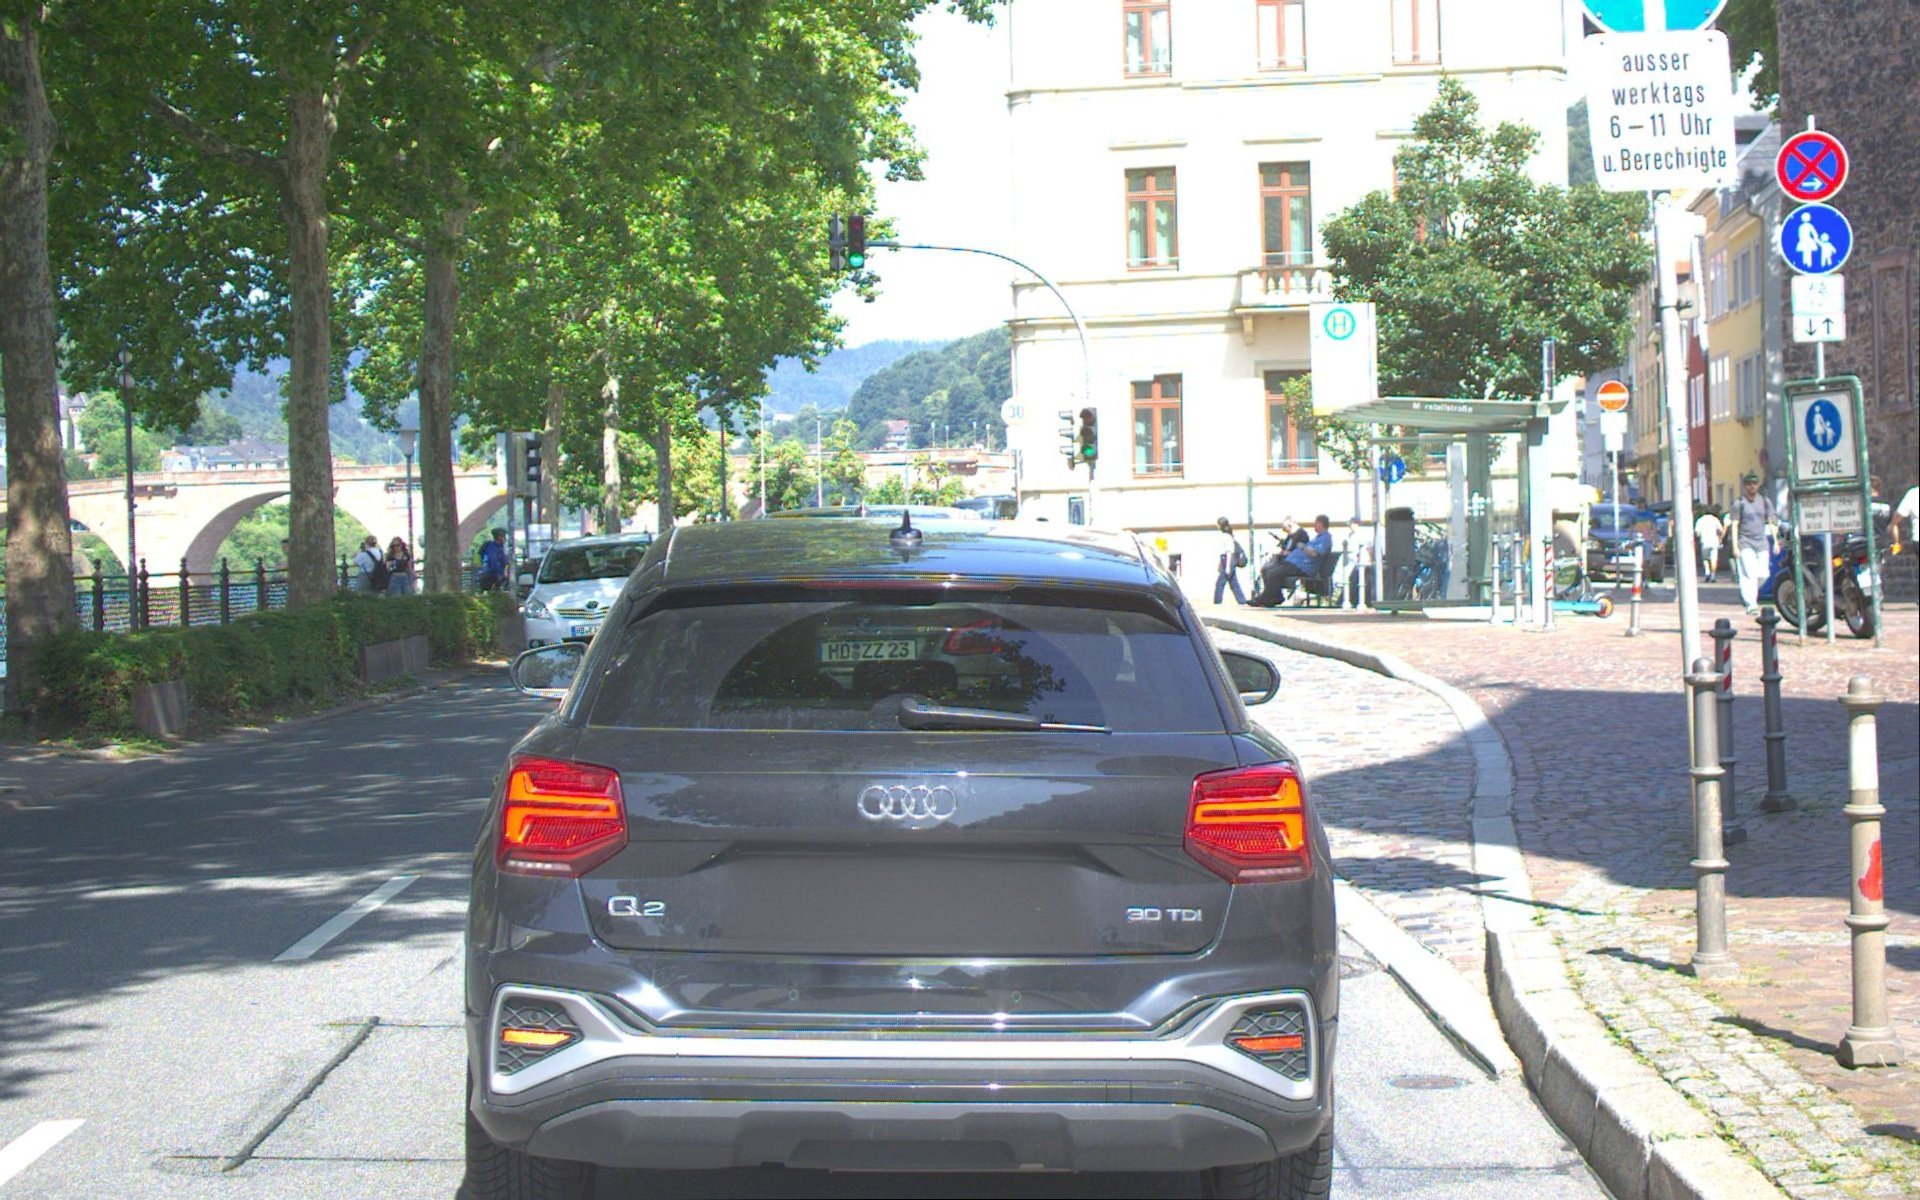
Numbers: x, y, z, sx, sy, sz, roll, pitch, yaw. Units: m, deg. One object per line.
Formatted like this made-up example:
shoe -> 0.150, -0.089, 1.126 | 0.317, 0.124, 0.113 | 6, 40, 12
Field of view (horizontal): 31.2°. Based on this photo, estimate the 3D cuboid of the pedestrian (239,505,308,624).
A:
pedestrian -> -10.707, -0.549, 53.642 | 0.911, 1.838, 0.585 | 1, 0, 4

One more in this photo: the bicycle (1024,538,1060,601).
bicycle -> 1.438, -0.541, 60.391 | 0.437, 1.082, 1.677 | 1, 0, -5

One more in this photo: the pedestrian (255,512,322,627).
pedestrian -> -10.711, -0.486, 54.847 | 0.911, 1.805, 0.586 | 1, 1, 4

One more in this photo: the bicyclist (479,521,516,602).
bicyclist -> -7.510, -0.623, 55.838 | 0.566, 1.307, 0.552 | 1, 0, -5

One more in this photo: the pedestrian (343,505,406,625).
pedestrian -> -9.854, -0.591, 57.897 | 0.911, 2.007, 0.585 | 1, 0, 4

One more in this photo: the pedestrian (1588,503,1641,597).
pedestrian -> 14.077, -1.073, 73.953 | 0.944, 2.007, 0.807 | 1, 0, 0

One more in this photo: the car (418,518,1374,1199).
car -> -0.142, 0.573, 8.163 | 1.743, 1.504, 3.647 | 1, 1, -1

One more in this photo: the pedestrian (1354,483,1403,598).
pedestrian -> 7.374, -1.051, 60.569 | 0.640, 2.007, 0.664 | 1, 0, 29

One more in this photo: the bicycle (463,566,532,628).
bicycle -> -7.513, -0.047, 55.834 | 1.093, 1.003, 0.304 | 0, 0, -7

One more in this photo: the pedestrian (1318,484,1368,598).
pedestrian -> 6.805, -1.047, 61.059 | 0.640, 2.007, 0.664 | 1, 0, 29

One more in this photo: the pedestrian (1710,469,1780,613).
pedestrian -> 10.353, -0.776, 45.370 | 0.747, 1.884, 0.752 | 1, 0, 2

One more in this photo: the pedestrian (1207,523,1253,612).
pedestrian -> 4.613, -0.555, 58.792 | 0.693, 1.495, 0.514 | 1, 0, -4

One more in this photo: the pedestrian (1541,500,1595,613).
pedestrian -> 7.513, -0.535, 42.477 | 0.557, 1.380, 0.588 | 1, 0, 2

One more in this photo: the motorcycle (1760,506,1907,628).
motorcycle -> 7.599, -0.306, 30.013 | 0.566, 1.009, 2.490 | -1, 1, -2

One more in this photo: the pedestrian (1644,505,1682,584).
pedestrian -> 13.696, -1.074, 66.979 | 0.622, 1.526, 0.466 | 1, 0, 1

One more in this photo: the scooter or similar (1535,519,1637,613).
scooter or similar -> 7.161, -0.385, 39.333 | 1.088, 1.062, 0.323 | 1, 0, -2

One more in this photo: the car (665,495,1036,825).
car -> -0.554, 0.259, 18.512 | 1.793, 1.589, 3.399 | 1, 1, -1

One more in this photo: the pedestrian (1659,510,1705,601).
pedestrian -> 15.975, -0.982, 76.092 | 0.839, 2.007, 0.738 | 1, 0, 0

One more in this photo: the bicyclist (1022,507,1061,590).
bicyclist -> 1.428, -0.907, 60.497 | 0.605, 1.445, 0.591 | 1, 0, -5

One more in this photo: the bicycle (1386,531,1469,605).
bicycle -> 6.650, -0.450, 48.938 | 1.201, 1.031, 0.179 | 1, 0, -19

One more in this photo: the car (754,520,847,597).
car -> -3.856, -0.999, 83.656 | 1.993, 1.800, 4.000 | 1, 0, 1

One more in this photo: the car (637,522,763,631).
car -> -4.671, -0.460, 62.291 | 1.813, 1.719, 4.422 | -6, 1, 0

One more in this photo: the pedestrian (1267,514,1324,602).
pedestrian -> 4.695, -0.584, 48.099 | 0.663, 1.207, 0.641 | 1, 0, -6

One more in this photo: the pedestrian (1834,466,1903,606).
pedestrian -> 11.784, -0.832, 44.603 | 0.652, 1.796, 0.847 | 0, 1, -1

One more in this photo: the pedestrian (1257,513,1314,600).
pedestrian -> 4.629, -0.617, 48.896 | 0.663, 1.227, 0.641 | 1, 0, -6

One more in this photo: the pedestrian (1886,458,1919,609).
pedestrian -> 12.118, -0.824, 43.236 | 0.668, 1.877, 0.821 | 1, 0, -2

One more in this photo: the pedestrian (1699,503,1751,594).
pedestrian -> 16.895, -1.135, 75.923 | 0.940, 2.007, 0.807 | 1, 0, 0

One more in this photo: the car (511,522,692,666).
car -> -4.369, -0.117, 42.403 | 1.738, 1.566, 4.092 | -4, 1, 0

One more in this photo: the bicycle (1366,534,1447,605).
bicycle -> 6.442, -0.436, 49.583 | 1.184, 1.012, 0.179 | 1, 0, -19

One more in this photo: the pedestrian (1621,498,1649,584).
pedestrian -> 13.151, -1.144, 66.997 | 0.449, 1.675, 0.466 | 1, 0, 2
